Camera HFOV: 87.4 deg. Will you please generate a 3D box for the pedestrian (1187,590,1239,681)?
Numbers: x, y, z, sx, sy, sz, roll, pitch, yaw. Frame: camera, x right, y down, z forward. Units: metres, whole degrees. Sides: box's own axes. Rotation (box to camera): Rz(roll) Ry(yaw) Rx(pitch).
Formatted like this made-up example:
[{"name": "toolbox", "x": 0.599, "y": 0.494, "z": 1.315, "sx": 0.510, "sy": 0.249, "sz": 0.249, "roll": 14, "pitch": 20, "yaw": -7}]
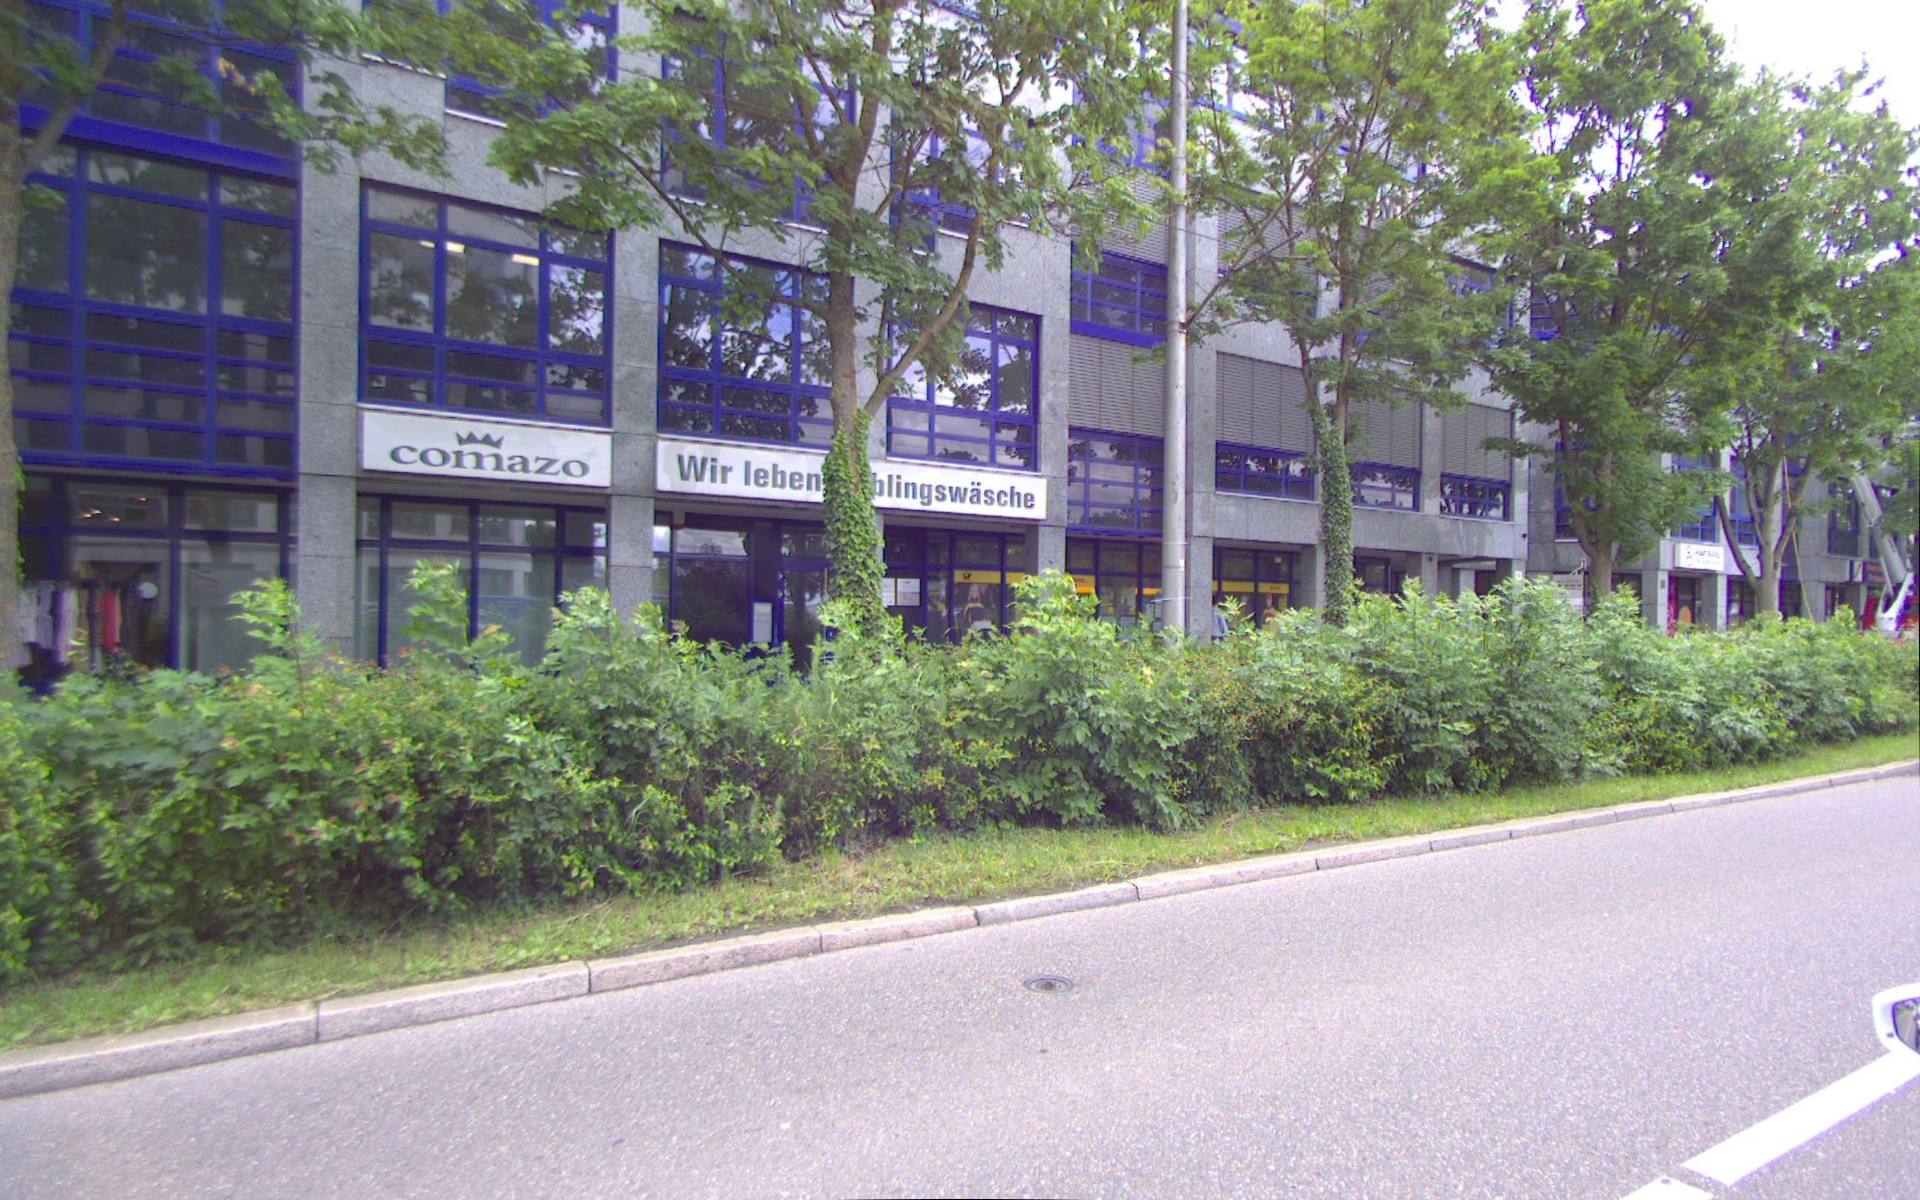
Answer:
[{"name": "pedestrian", "x": 5.469, "y": 0.765, "z": 21.722, "sx": 0.723, "sy": 1.919, "sz": 0.771, "roll": 2, "pitch": 0, "yaw": -30}]
